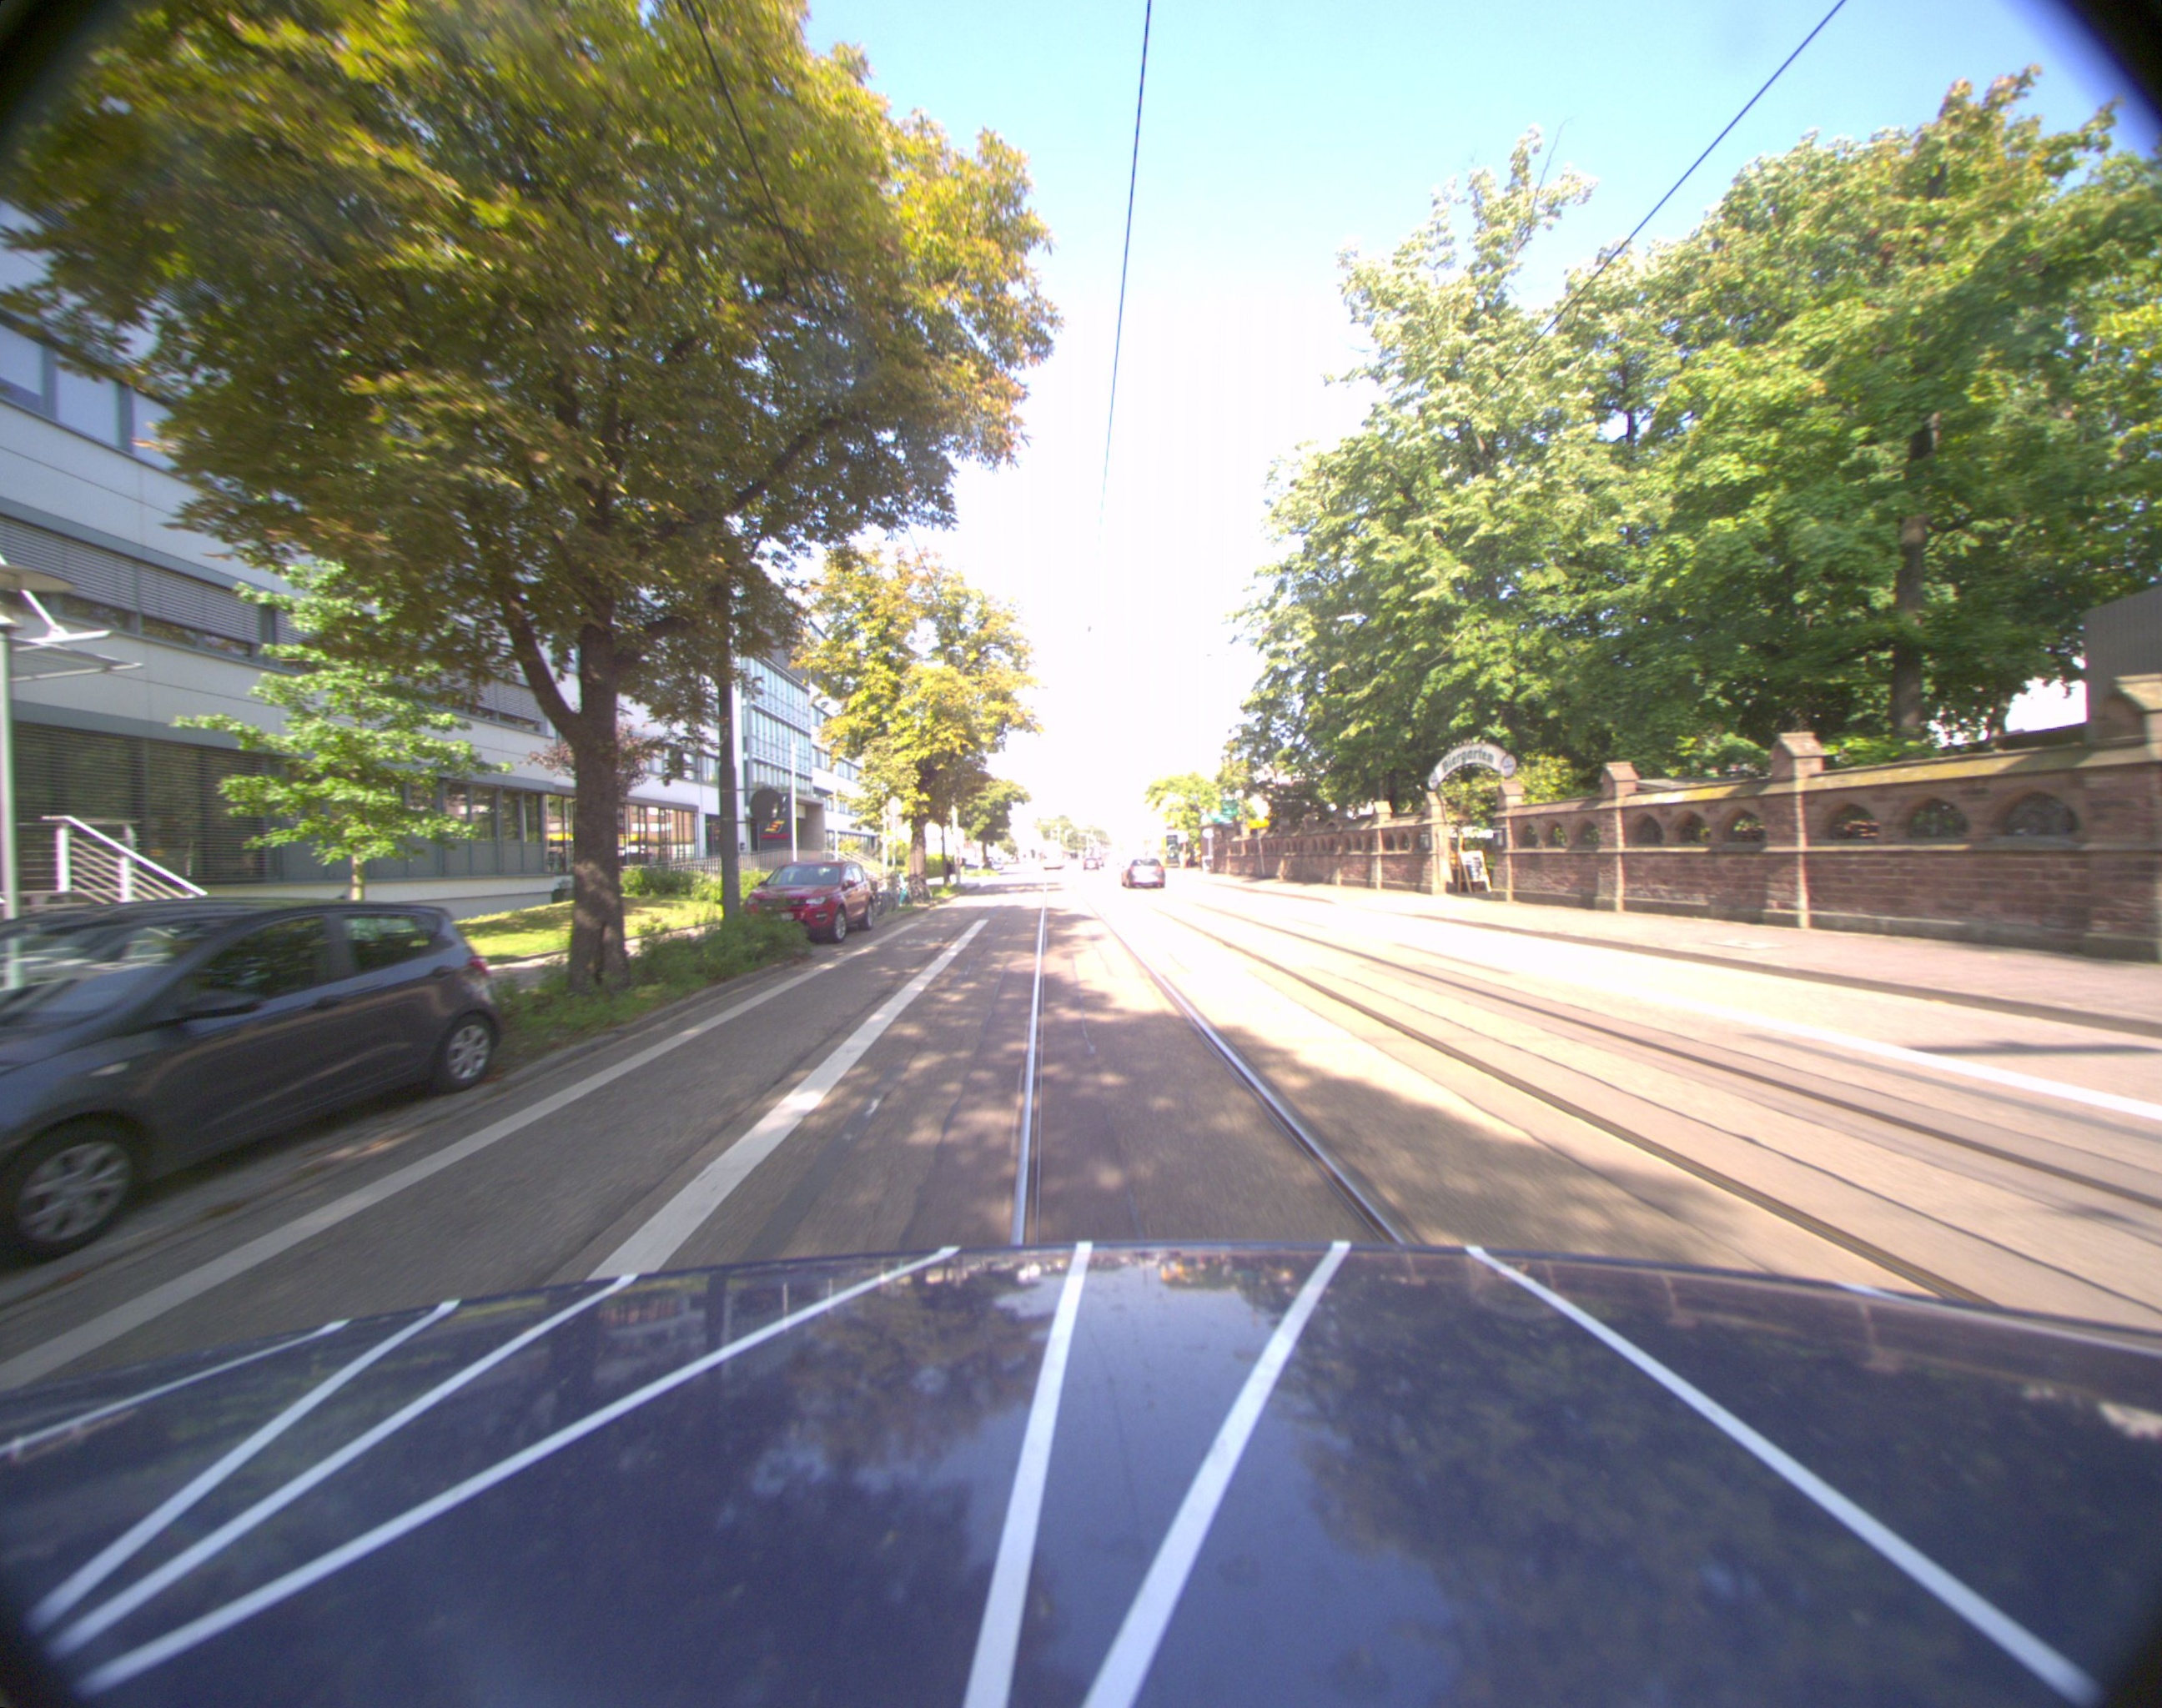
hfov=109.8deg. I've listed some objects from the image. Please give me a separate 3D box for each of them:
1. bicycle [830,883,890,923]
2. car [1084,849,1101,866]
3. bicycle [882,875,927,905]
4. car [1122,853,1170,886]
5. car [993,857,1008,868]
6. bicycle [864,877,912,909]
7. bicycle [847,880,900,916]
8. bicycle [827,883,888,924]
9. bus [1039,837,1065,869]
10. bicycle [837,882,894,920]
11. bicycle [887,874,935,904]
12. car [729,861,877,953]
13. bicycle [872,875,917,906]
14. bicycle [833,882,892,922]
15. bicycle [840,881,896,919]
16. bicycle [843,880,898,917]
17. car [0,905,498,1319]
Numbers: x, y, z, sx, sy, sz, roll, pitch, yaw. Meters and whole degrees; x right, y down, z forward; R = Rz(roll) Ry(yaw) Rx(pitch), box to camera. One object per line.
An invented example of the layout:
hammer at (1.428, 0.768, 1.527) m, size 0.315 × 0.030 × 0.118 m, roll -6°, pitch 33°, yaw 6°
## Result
bicycle at (-5.906, 1.305, 20.338) m, size 1.461 × 1.009 × 0.382 m, roll -1°, pitch 1°, yaw -6°
car at (1.235, 0.390, 82.218) m, size 1.754 × 1.718 × 4.000 m, roll -2°, pitch 1°, yaw 1°
bicycle at (-6.212, 1.257, 26.763) m, size 1.461 × 1.009 × 0.382 m, roll -1°, pitch 1°, yaw -6°
car at (2.961, 0.680, 35.300) m, size 1.695 × 1.433 × 3.999 m, roll -1°, pitch 0°, yaw -2°
car at (-11.894, 1.257, 112.212) m, size 1.755 × 1.598 × 4.000 m, roll -2°, pitch 1°, yaw 1°
bicycle at (-6.340, 1.278, 25.014) m, size 1.461 × 1.009 × 0.382 m, roll -1°, pitch 1°, yaw -6°
bicycle at (-6.132, 1.292, 22.481) m, size 1.461 × 1.009 × 0.382 m, roll -1°, pitch 1°, yaw -6°
bicycle at (-5.855, 1.298, 19.914) m, size 1.461 × 1.009 × 0.382 m, roll -1°, pitch 1°, yaw -6°
bus at (-3.596, -0.149, 97.759) m, size 2.901 × 3.771 × 9.317 m, roll -2°, pitch 1°, yaw 0°
bicycle at (-6.005, 1.300, 21.174) m, size 1.461 × 1.009 × 0.382 m, roll -1°, pitch 1°, yaw -6°
bicycle at (-6.091, 1.248, 27.245) m, size 1.622 × 1.009 × 0.382 m, roll -1°, pitch 1°, yaw -6°
car at (-5.753, 1.017, 16.308) m, size 1.867 × 1.643 × 4.182 m, roll 0°, pitch 0°, yaw -4°
bicycle at (-6.441, 1.268, 26.275) m, size 1.461 × 1.009 × 0.382 m, roll -1°, pitch 1°, yaw -6°
bicycle at (-5.957, 1.303, 20.749) m, size 1.461 × 1.009 × 0.382 m, roll -1°, pitch 1°, yaw -6°
bicycle at (-6.056, 1.298, 21.622) m, size 1.461 × 1.009 × 0.382 m, roll -1°, pitch 1°, yaw -6°
bicycle at (-6.100, 1.295, 22.071) m, size 1.461 × 1.009 × 0.382 m, roll -1°, pitch 1°, yaw -6°
car at (-5.235, 1.139, 4.147) m, size 1.567 × 1.433 × 3.562 m, roll 1°, pitch 0°, yaw -5°
